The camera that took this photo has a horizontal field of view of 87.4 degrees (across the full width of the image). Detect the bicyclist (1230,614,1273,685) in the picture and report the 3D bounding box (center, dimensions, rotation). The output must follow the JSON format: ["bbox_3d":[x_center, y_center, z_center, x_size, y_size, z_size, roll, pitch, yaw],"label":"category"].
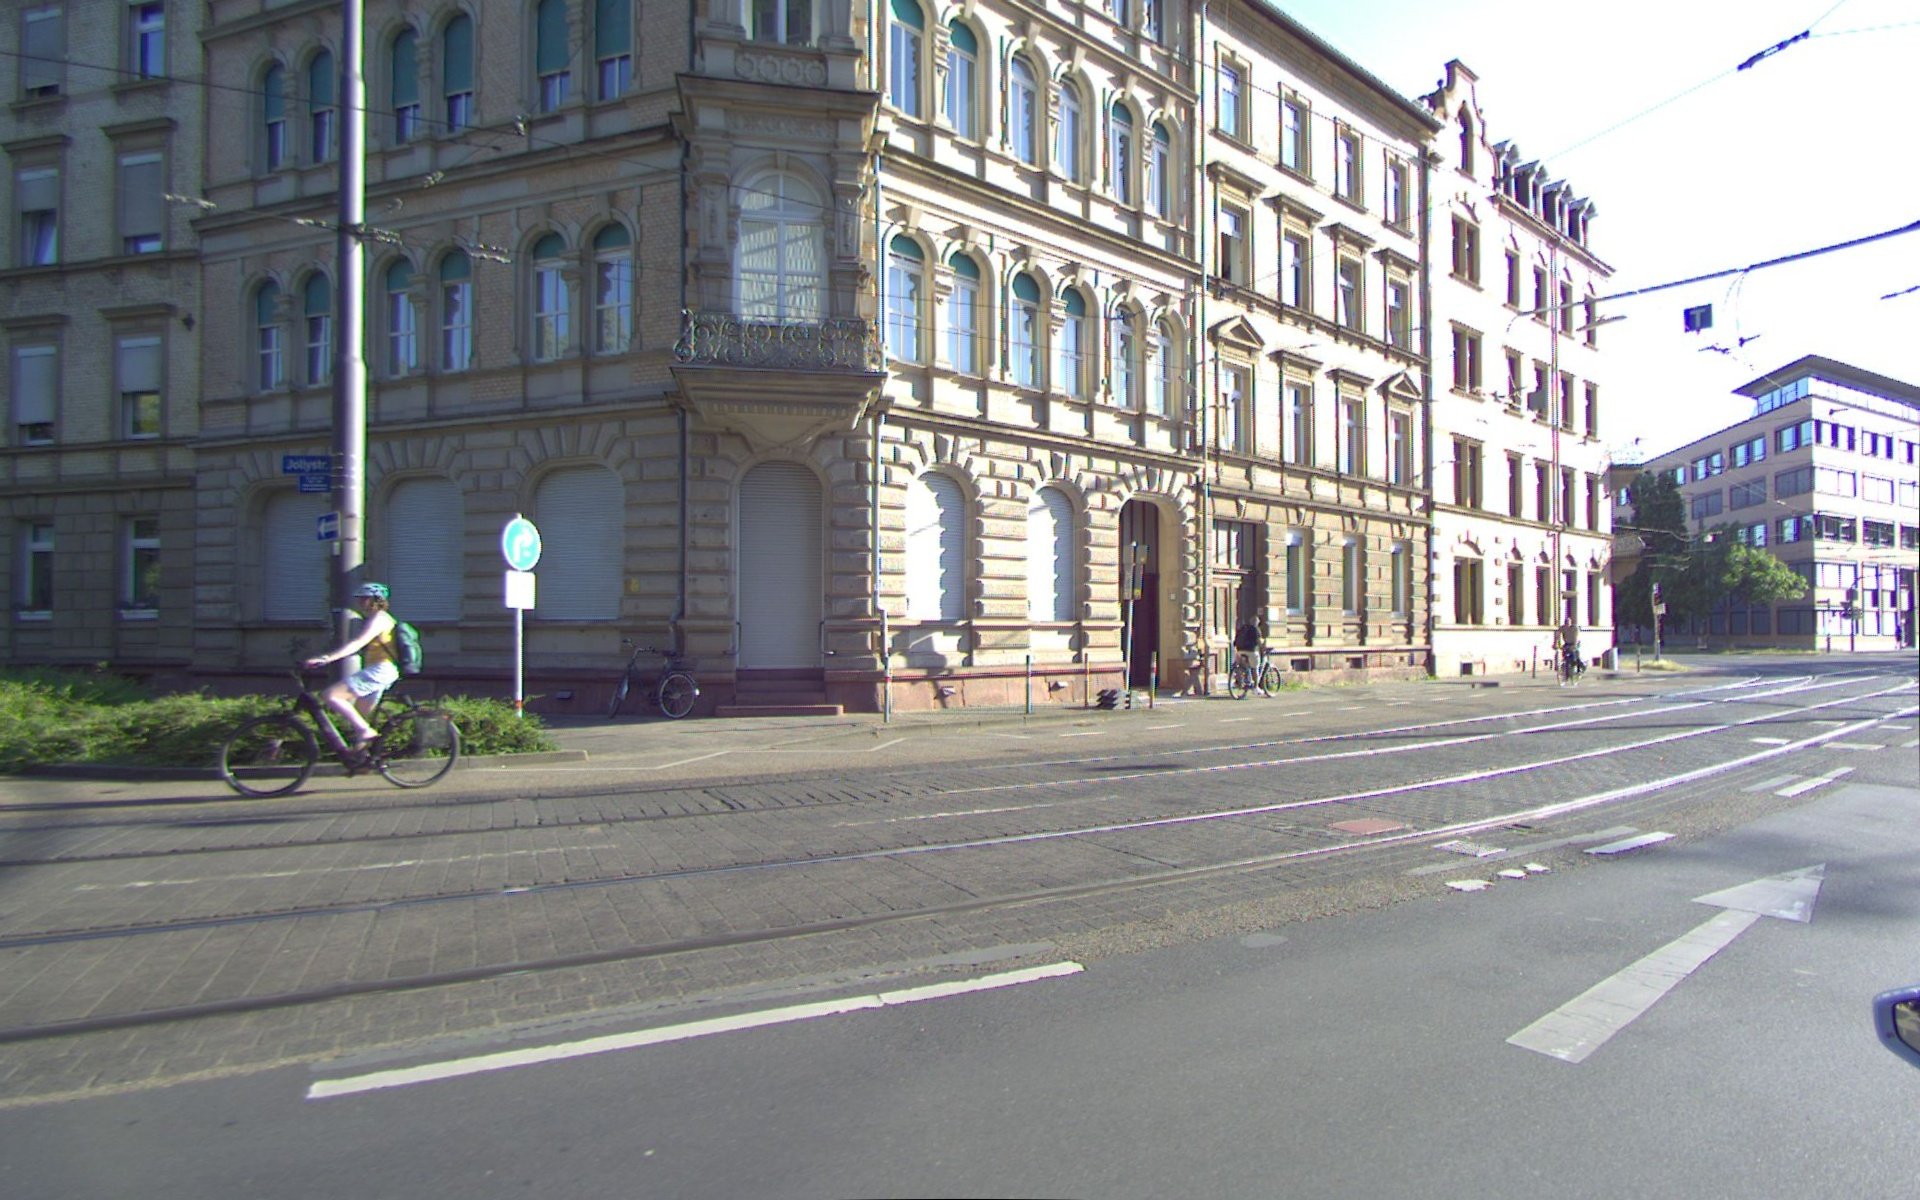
[{"bbox_3d":[6.354,1.074,21.887,0.695,1.510,0.588,1,-2,-33],"label":"bicyclist"}]

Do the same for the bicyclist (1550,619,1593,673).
[{"bbox_3d":[17.647,1.323,28.991,0.795,1.533,0.836,1,-2,-39],"label":"bicyclist"}]

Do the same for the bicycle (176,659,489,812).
[{"bbox_3d":[-5.615,1.140,9.090,2.305,1.171,0.875,2,-2,-40],"label":"bicycle"}]

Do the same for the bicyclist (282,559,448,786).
[{"bbox_3d":[-5.464,0.647,9.222,1.104,1.915,1.021,3,-3,-40],"label":"bicyclist"}]

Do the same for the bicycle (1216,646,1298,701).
[{"bbox_3d":[6.521,1.580,21.994,2.104,1.147,0.498,1,-2,-34],"label":"bicycle"}]

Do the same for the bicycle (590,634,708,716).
[{"bbox_3d":[-4.857,1.151,15.692,1.756,1.222,0.503,0,1,17],"label":"bicycle"}]

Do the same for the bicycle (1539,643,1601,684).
[{"bbox_3d":[17.567,1.812,28.914,1.982,1.112,0.938,2,-3,-40],"label":"bicycle"}]
